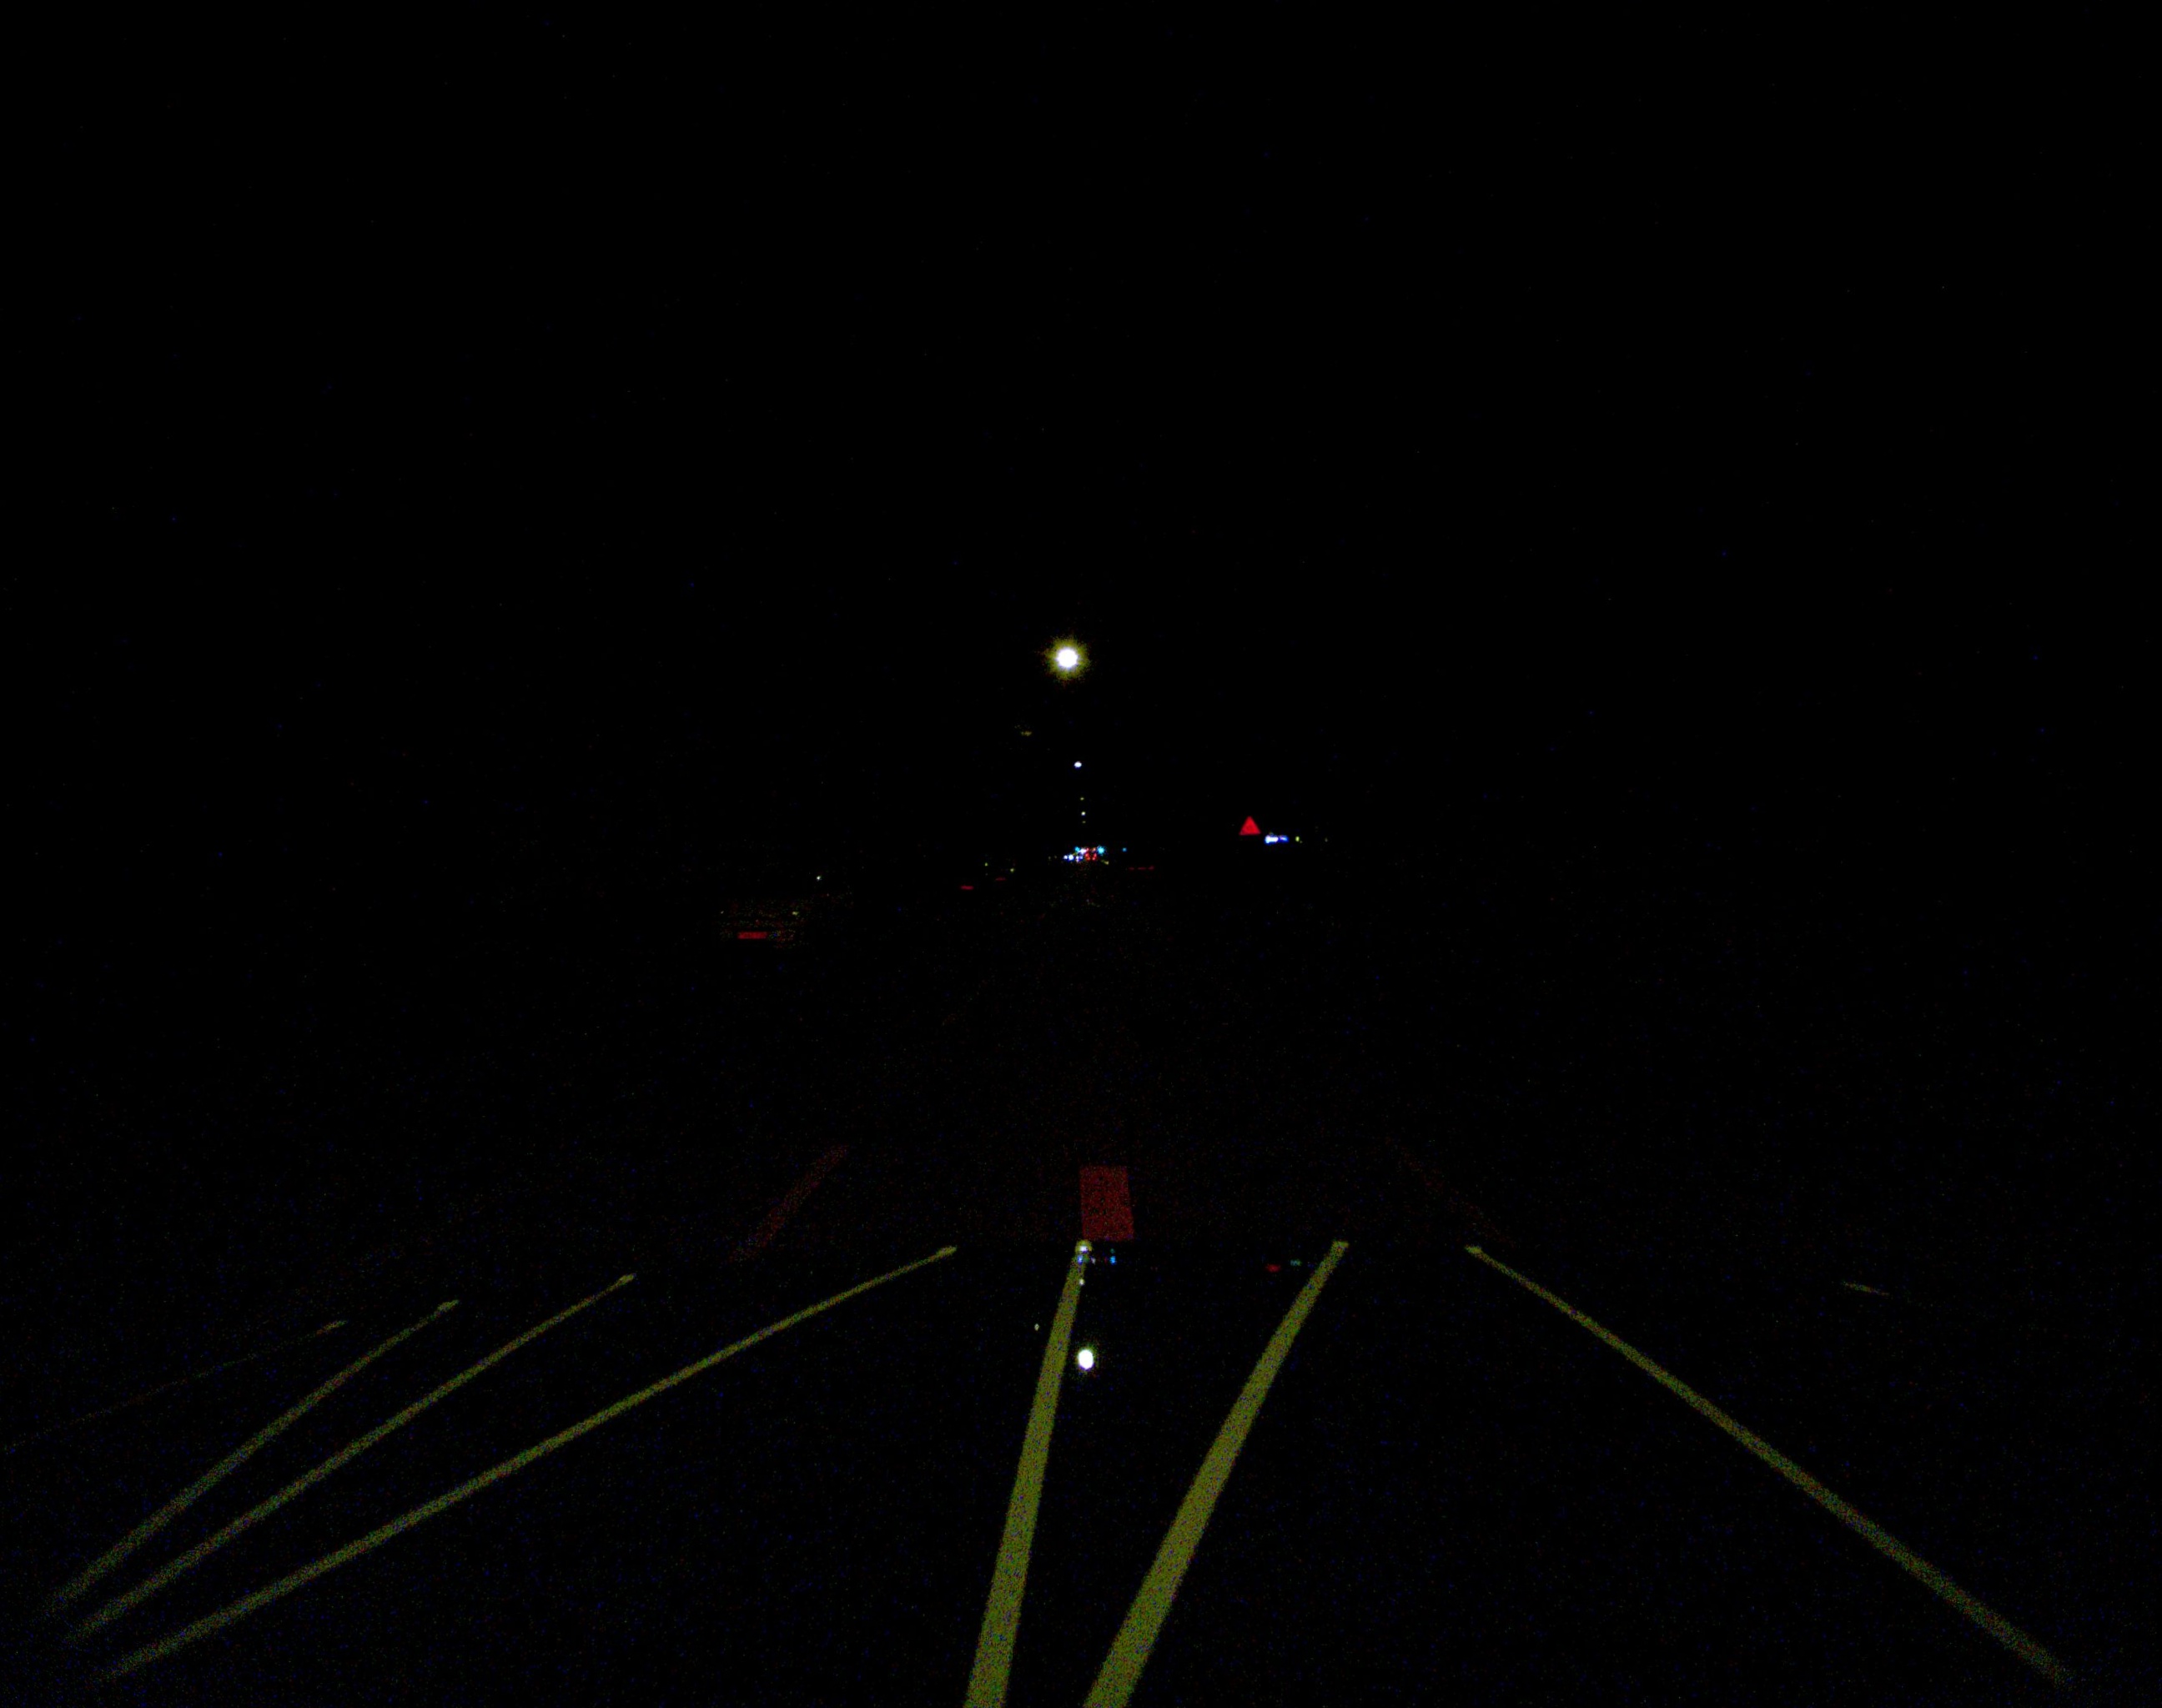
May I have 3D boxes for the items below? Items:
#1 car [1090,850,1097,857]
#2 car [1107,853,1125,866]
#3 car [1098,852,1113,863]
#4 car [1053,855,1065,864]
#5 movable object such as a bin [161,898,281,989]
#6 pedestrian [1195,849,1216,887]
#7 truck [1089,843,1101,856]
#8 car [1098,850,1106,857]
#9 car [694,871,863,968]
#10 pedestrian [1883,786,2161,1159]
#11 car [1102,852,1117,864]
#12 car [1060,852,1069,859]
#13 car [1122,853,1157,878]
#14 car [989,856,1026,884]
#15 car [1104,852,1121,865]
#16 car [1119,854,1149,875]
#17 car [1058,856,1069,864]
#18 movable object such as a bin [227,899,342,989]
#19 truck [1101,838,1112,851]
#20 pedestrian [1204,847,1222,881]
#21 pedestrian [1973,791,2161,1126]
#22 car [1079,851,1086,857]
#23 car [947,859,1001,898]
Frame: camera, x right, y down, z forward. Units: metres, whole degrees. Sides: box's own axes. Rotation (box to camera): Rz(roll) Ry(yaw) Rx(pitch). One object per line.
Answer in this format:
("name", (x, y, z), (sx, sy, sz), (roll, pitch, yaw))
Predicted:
("car", (3.183, -0.149, 195.278), (1.873, 1.635, 4.000), (-2, 0, 1))
("car", (4.545, 0.678, 99.515), (1.874, 1.635, 3.999), (-2, 0, -3))
("car", (3.771, 0.526, 118.463), (1.874, 1.635, 3.999), (-2, 0, -3))
("car", (-3.682, 0.853, 126.853), (1.874, 1.407, 4.000), (-2, 0, 0))
("movable object such as a bin", (-10.880, 1.110, 9.642), (0.609, 1.042, 0.755), (-2, 1, 1))
("pedestrian", (5.661, 0.613, 34.621), (0.744, 1.662, 1.103), (-2, 1, 0))
("truck", (4.105, -1.248, 218.793), (3.222, 3.359, 8.850), (-2, 0, 1))
("car", (4.907, -0.021, 179.059), (1.873, 1.551, 4.353), (-2, 0, 1))
("car", (-5.376, 1.088, 13.996), (1.672, 1.476, 3.603), (0, 0, 0))
("pedestrian", (5.160, 0.542, 4.046), (0.677, 1.735, 1.028), (-2, 1, 0))
("car", (4.042, 0.604, 108.471), (1.874, 1.635, 3.999), (-2, 0, -3))
("car", (-3.459, 0.233, 163.259), (1.874, 1.407, 4.000), (-2, 0, 0))
("car", (3.874, 0.725, 51.231), (1.864, 1.523, 4.587), (-4, 0, -1))
("car", (-4.425, 0.942, 46.556), (1.742, 1.588, 4.359), (0, 0, 1))
("car", (4.324, 0.640, 103.954), (1.874, 1.635, 3.999), (-2, 0, -3))
("car", (3.886, 0.755, 56.467), (1.864, 1.458, 3.897), (-4, 0, -1))
("car", (-3.095, 1.049, 133.622), (1.874, 1.407, 4.000), (-2, 0, 0))
("movable object such as a bin", (-10.099, 1.122, 9.657), (0.609, 1.042, 0.755), (-2, 1, 1))
("truck", (5.100, -1.833, 154.191), (2.084, 2.562, 6.873), (-2, 0, 1))
("pedestrian", (6.728, 0.498, 38.706), (0.670, 1.716, 0.866), (-2, 0, -2))
("pedestrian", (5.936, 0.526, 4.183), (0.744, 1.735, 1.103), (-2, 1, 0))
("car", (0.433, 0.011, 221.899), (1.874, 1.635, 4.000), (-2, 0, 0))
("car", (-4.607, 1.029, 33.108), (1.865, 1.544, 4.044), (0, 0, -2))
